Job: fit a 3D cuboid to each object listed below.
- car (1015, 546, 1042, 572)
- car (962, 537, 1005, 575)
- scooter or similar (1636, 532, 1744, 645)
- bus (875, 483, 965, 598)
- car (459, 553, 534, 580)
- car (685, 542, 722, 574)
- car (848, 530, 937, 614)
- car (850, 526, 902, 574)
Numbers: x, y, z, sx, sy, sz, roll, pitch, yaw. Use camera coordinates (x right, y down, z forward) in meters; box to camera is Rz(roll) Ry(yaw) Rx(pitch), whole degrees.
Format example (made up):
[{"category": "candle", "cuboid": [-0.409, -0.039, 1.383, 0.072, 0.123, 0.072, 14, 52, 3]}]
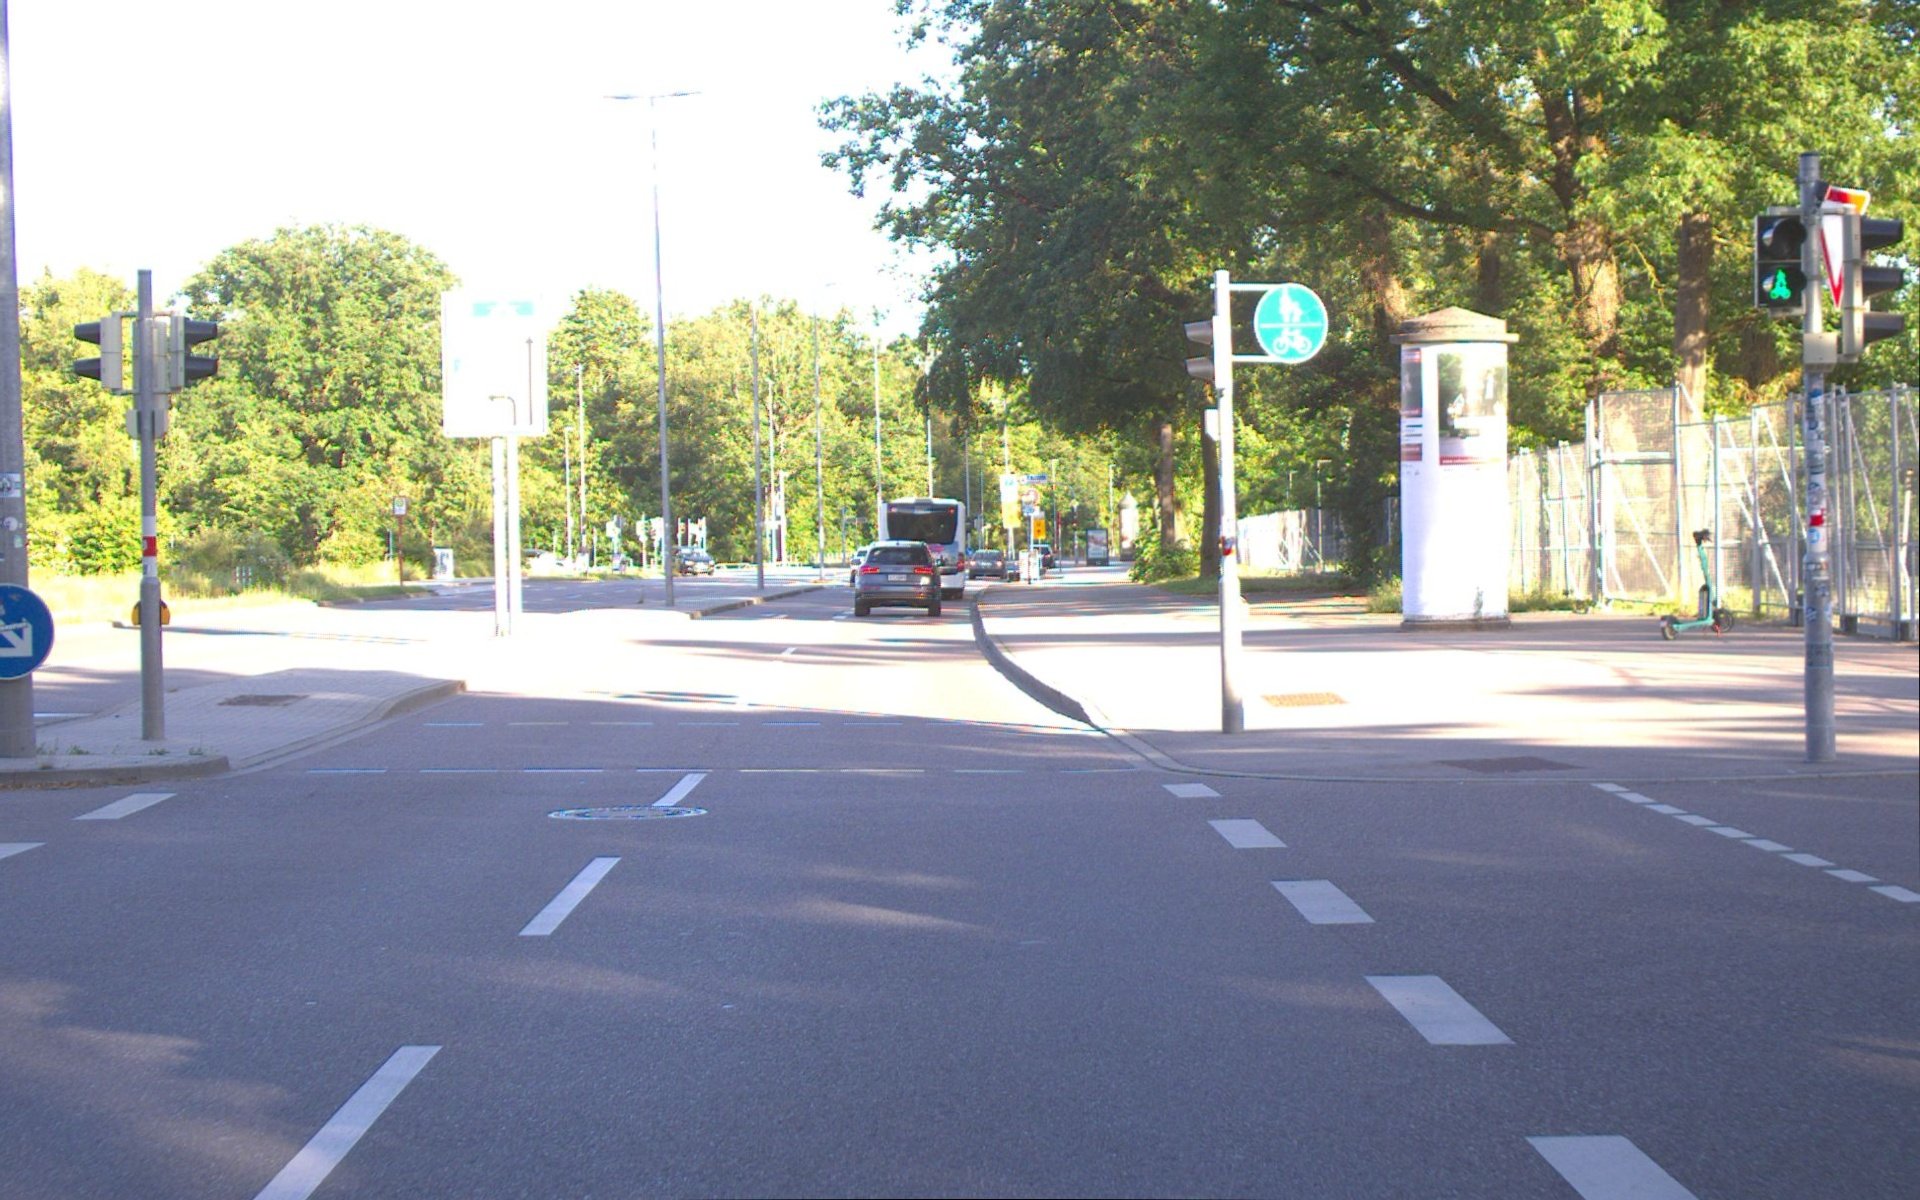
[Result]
[{"category": "car", "cuboid": [4.286, -2.540, 214.388, 1.592, 1.600, 3.584, 1, 1, 0]}, {"category": "car", "cuboid": [1.135, -2.112, 162.996, 1.863, 1.678, 3.772, -2, 1, 3]}, {"category": "scooter or similar", "cuboid": [8.359, -0.136, 39.333, 0.569, 1.252, 1.597, 0, 1, 37]}, {"category": "bus", "cuboid": [-1.261, -1.836, 104.592, 2.605, 3.357, 7.976, 0, 2, -2]}, {"category": "car", "cuboid": [-25.520, -1.833, 189.485, 3.665, 1.349, 1.738, -3, 2, -32]}, {"category": "car", "cuboid": [-14.498, -2.385, 194.620, 1.863, 1.678, 3.773, -2, 1, -2]}, {"category": "car", "cuboid": [-1.499, -0.645, 76.203, 1.880, 1.759, 4.001, -1, 2, -1]}, {"category": "car", "cuboid": [-3.200, -1.919, 130.940, 1.880, 1.759, 4.001, -1, 2, -1]}]
